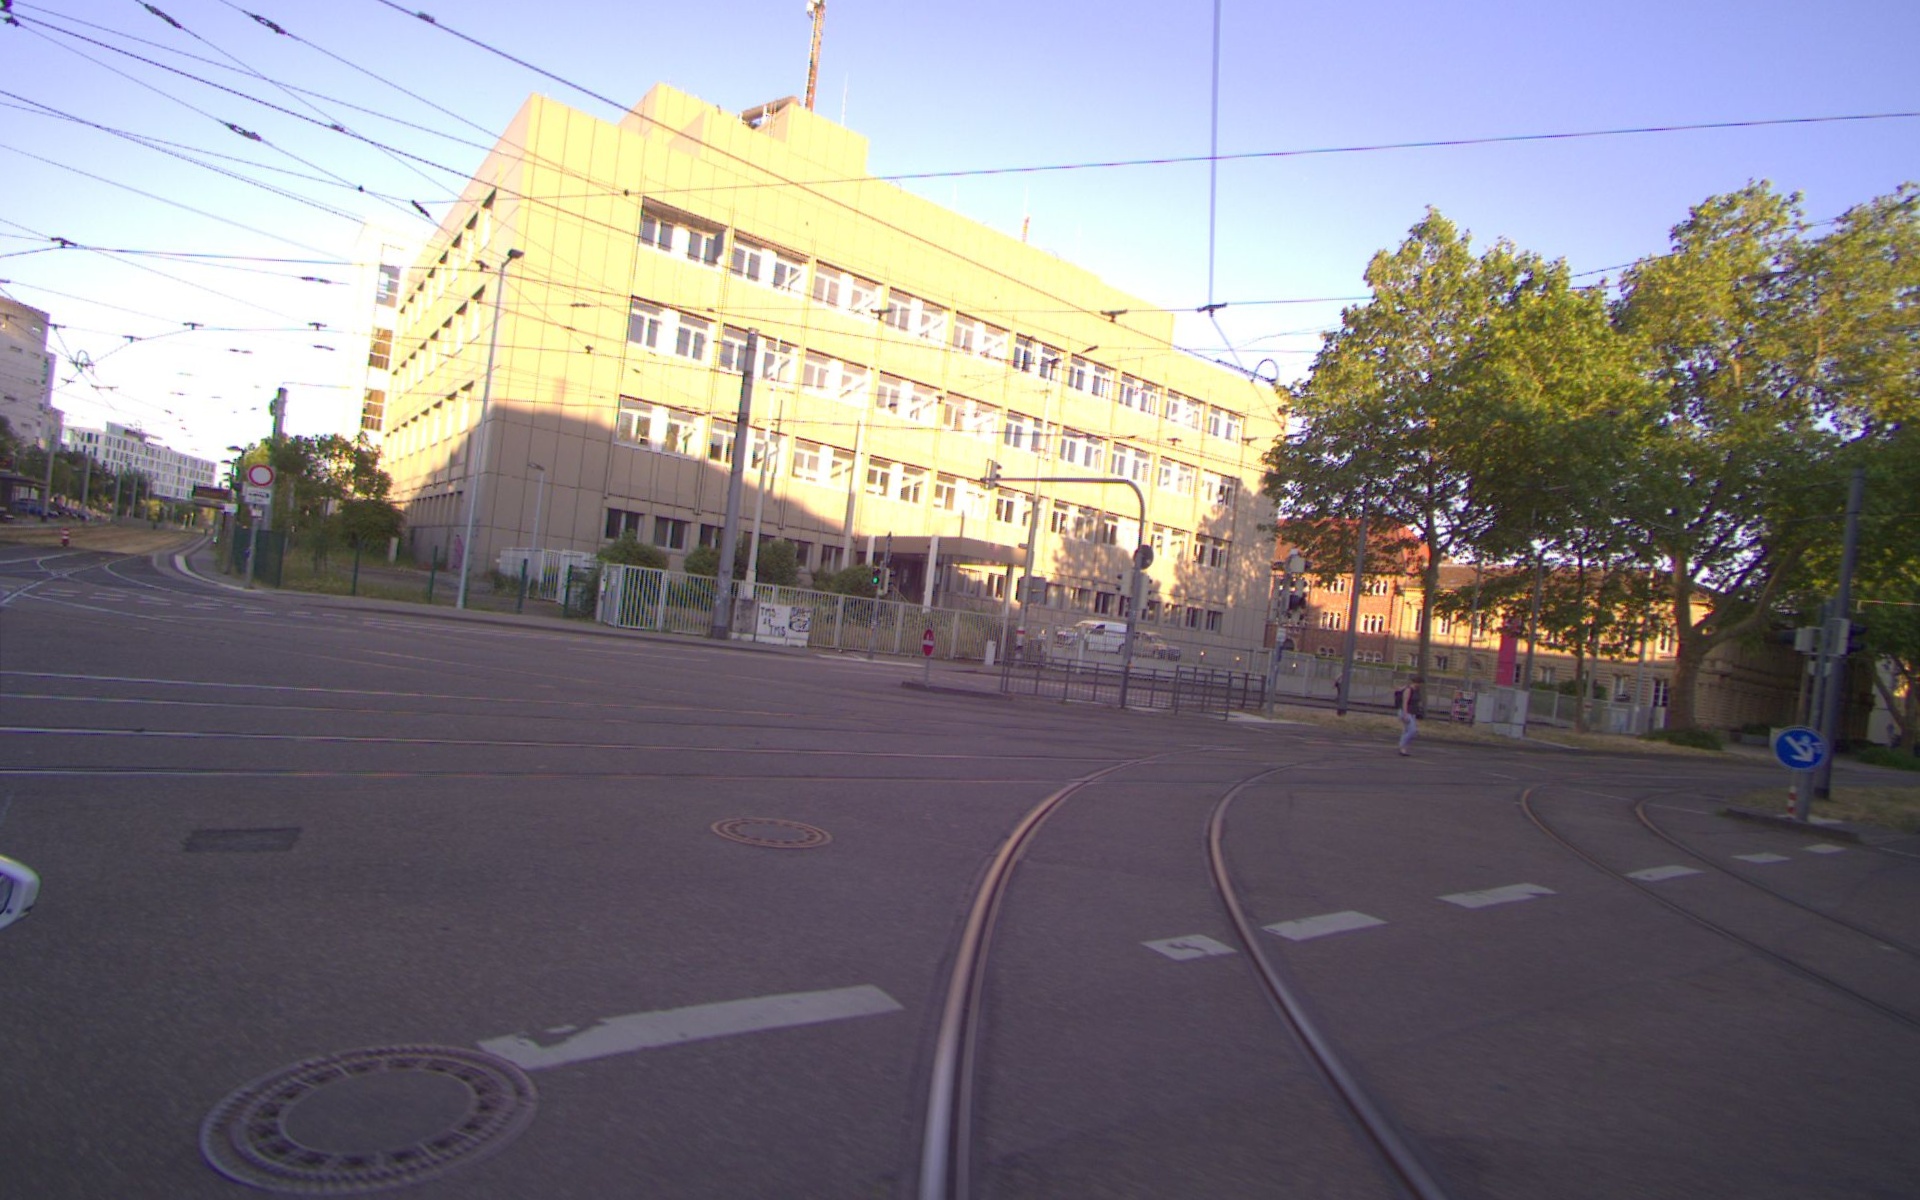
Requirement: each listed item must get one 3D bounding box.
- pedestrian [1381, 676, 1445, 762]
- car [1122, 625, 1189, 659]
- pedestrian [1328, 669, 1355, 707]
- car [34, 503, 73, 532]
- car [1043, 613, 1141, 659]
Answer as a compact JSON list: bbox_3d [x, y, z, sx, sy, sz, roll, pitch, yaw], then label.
[{"bbox_3d":[9.340,2.442,20.739,0.751,1.635,0.820,7,-1,-41],"label":"pedestrian"},{"bbox_3d":[12.498,2.666,64.424,1.817,1.634,3.965,8,-2,-33],"label":"car"},{"bbox_3d":[18.645,4.306,49.186,0.868,1.698,1.063,7,0,11],"label":"pedestrian"},{"bbox_3d":[-74.404,-6.760,82.605,1.984,2.038,3.958,8,-1,-38],"label":"car"},{"bbox_3d":[7.227,1.972,54.830,5.051,1.896,2.253,8,-1,-36],"label":"car"}]
